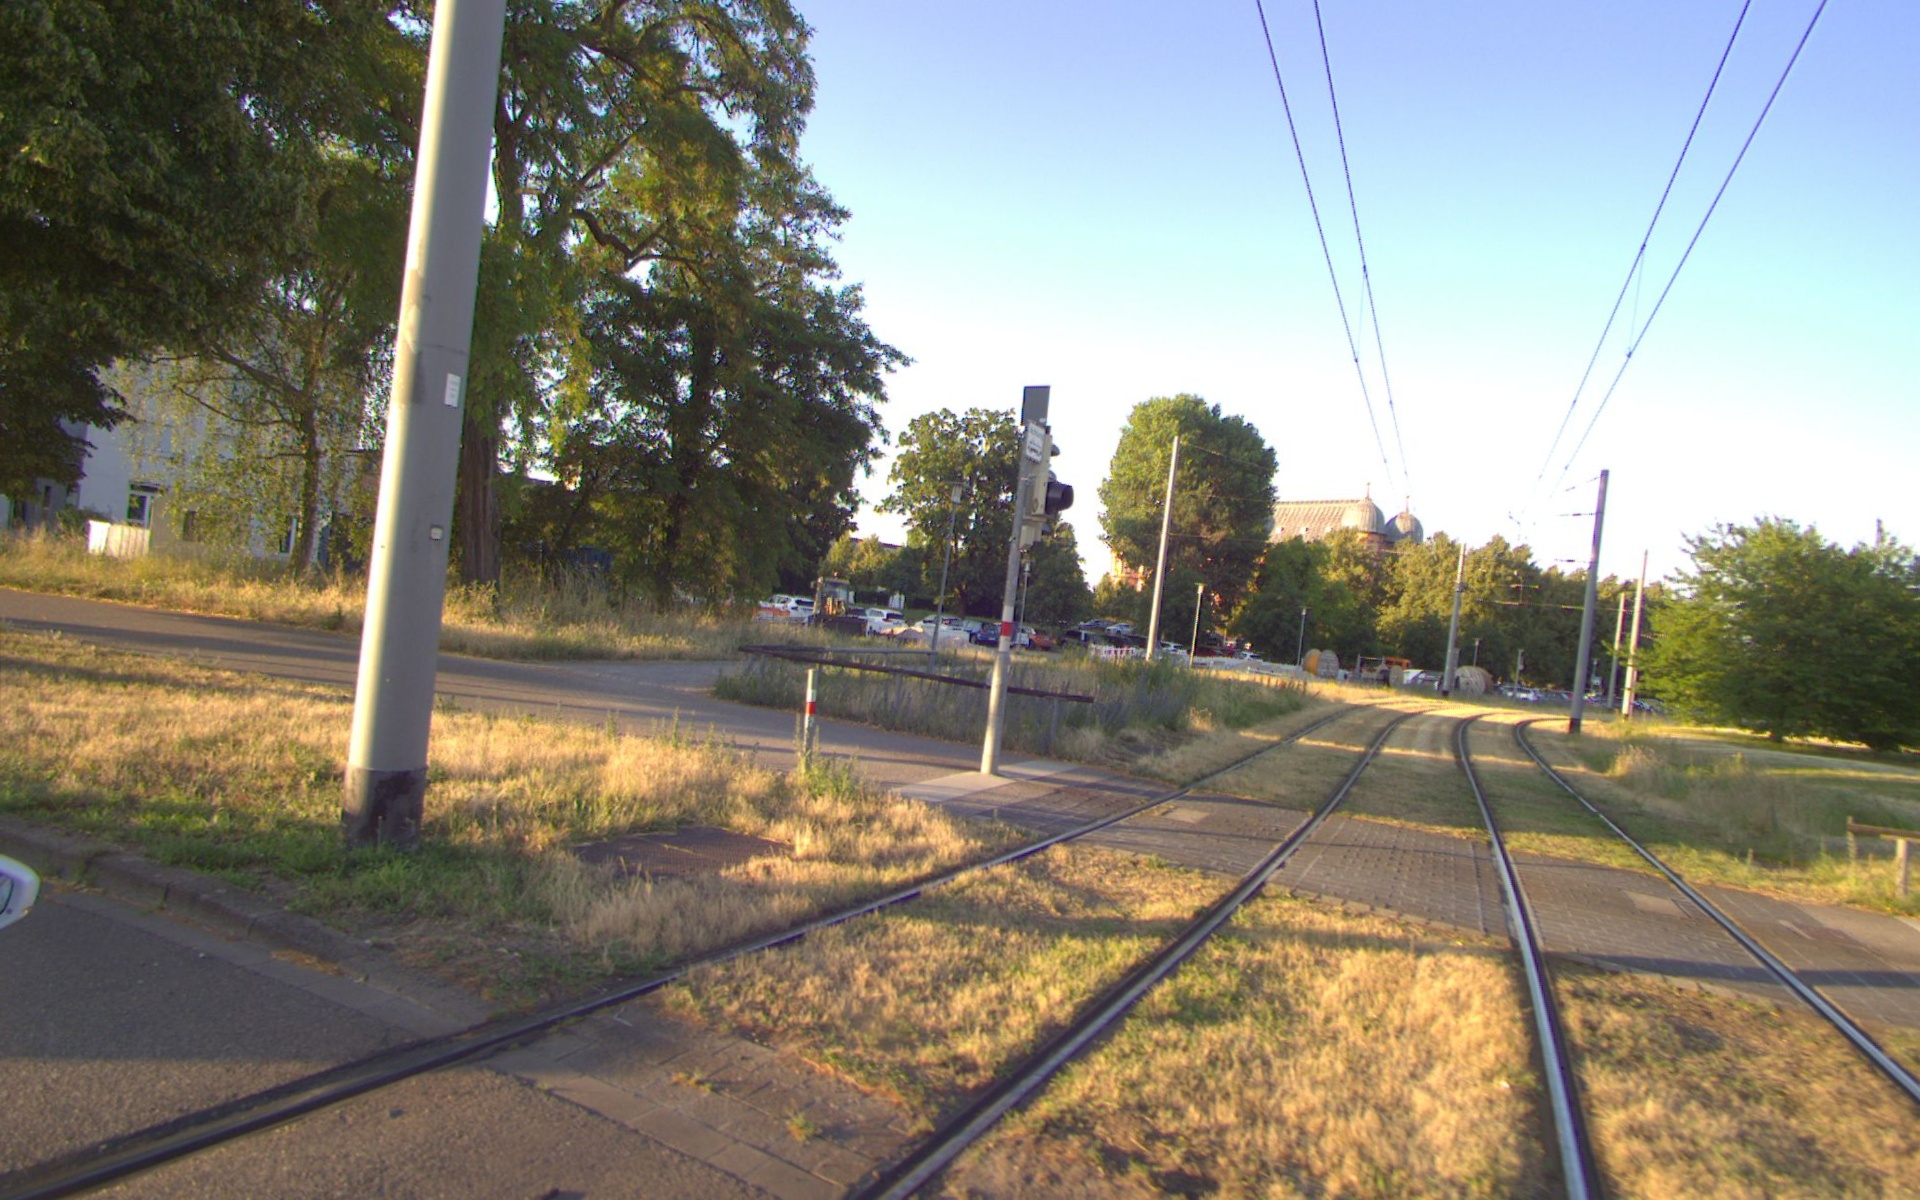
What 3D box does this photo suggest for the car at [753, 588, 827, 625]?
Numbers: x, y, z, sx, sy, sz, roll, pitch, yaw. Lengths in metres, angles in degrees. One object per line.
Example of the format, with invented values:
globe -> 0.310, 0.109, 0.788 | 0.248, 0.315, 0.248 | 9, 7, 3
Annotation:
car -> -9.102, 0.332, 53.625 | 1.940, 1.463, 3.953 | 7, -1, -42

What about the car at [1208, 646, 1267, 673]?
car -> 21.550, 4.602, 78.163 | 1.891, 1.572, 3.953 | 7, -1, -42

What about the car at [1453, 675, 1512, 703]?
car -> 39.997, 6.797, 77.016 | 1.702, 1.499, 3.565 | 9, -1, -45

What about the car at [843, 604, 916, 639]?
car -> -4.558, 1.193, 56.592 | 1.940, 1.463, 3.953 | 7, -1, -42

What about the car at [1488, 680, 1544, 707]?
car -> 45.090, 7.573, 81.602 | 1.702, 1.499, 3.565 | 9, -1, -45

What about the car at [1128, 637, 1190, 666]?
car -> 14.296, 3.682, 72.344 | 1.891, 1.572, 3.953 | 7, -1, -42

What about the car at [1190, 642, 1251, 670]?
car -> 19.792, 4.249, 76.485 | 1.891, 1.572, 3.953 | 7, -1, -42

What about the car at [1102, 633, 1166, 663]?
car -> 12.159, 3.314, 70.303 | 1.891, 1.572, 3.953 | 7, -1, -42

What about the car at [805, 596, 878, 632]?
car -> -6.555, 0.759, 55.296 | 1.940, 1.463, 3.953 | 7, -1, -42

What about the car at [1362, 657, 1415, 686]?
car -> 40.098, 6.687, 94.268 | 1.891, 2.121, 3.953 | 7, -1, -42

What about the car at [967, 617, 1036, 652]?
car -> 2.561, 2.139, 62.826 | 1.940, 1.682, 3.953 | 7, -1, -42

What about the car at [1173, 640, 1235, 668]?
car -> 18.100, 4.005, 74.783 | 1.891, 1.572, 3.953 | 7, -1, -42

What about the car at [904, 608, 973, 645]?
car -> -1.319, 1.582, 60.246 | 1.940, 1.682, 3.953 | 7, -1, -42

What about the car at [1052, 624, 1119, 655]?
car -> 8.388, 2.626, 67.490 | 1.891, 1.572, 4.051 | 7, -1, -42

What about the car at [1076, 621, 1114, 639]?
car -> 15.437, 3.421, 114.928 | 3.968, 1.572, 1.883 | 8, -1, -38

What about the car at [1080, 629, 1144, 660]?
car -> 10.354, 3.047, 68.715 | 1.891, 1.572, 3.953 | 7, -1, -42

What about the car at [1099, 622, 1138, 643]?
car -> 17.877, 3.653, 113.359 | 3.970, 1.766, 1.978 | 8, 0, -40

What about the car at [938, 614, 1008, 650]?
car -> 0.771, 1.913, 61.334 | 1.940, 1.682, 3.953 | 7, -1, -42

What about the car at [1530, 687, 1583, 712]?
car -> 52.158, 8.697, 88.026 | 1.702, 1.499, 3.565 | 9, -1, -45

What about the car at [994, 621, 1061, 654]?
car -> 4.285, 2.386, 64.298 | 1.891, 1.572, 3.953 | 7, -1, -42

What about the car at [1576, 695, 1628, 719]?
car -> 58.670, 9.802, 91.930 | 1.702, 1.499, 3.565 | 9, -1, -45
